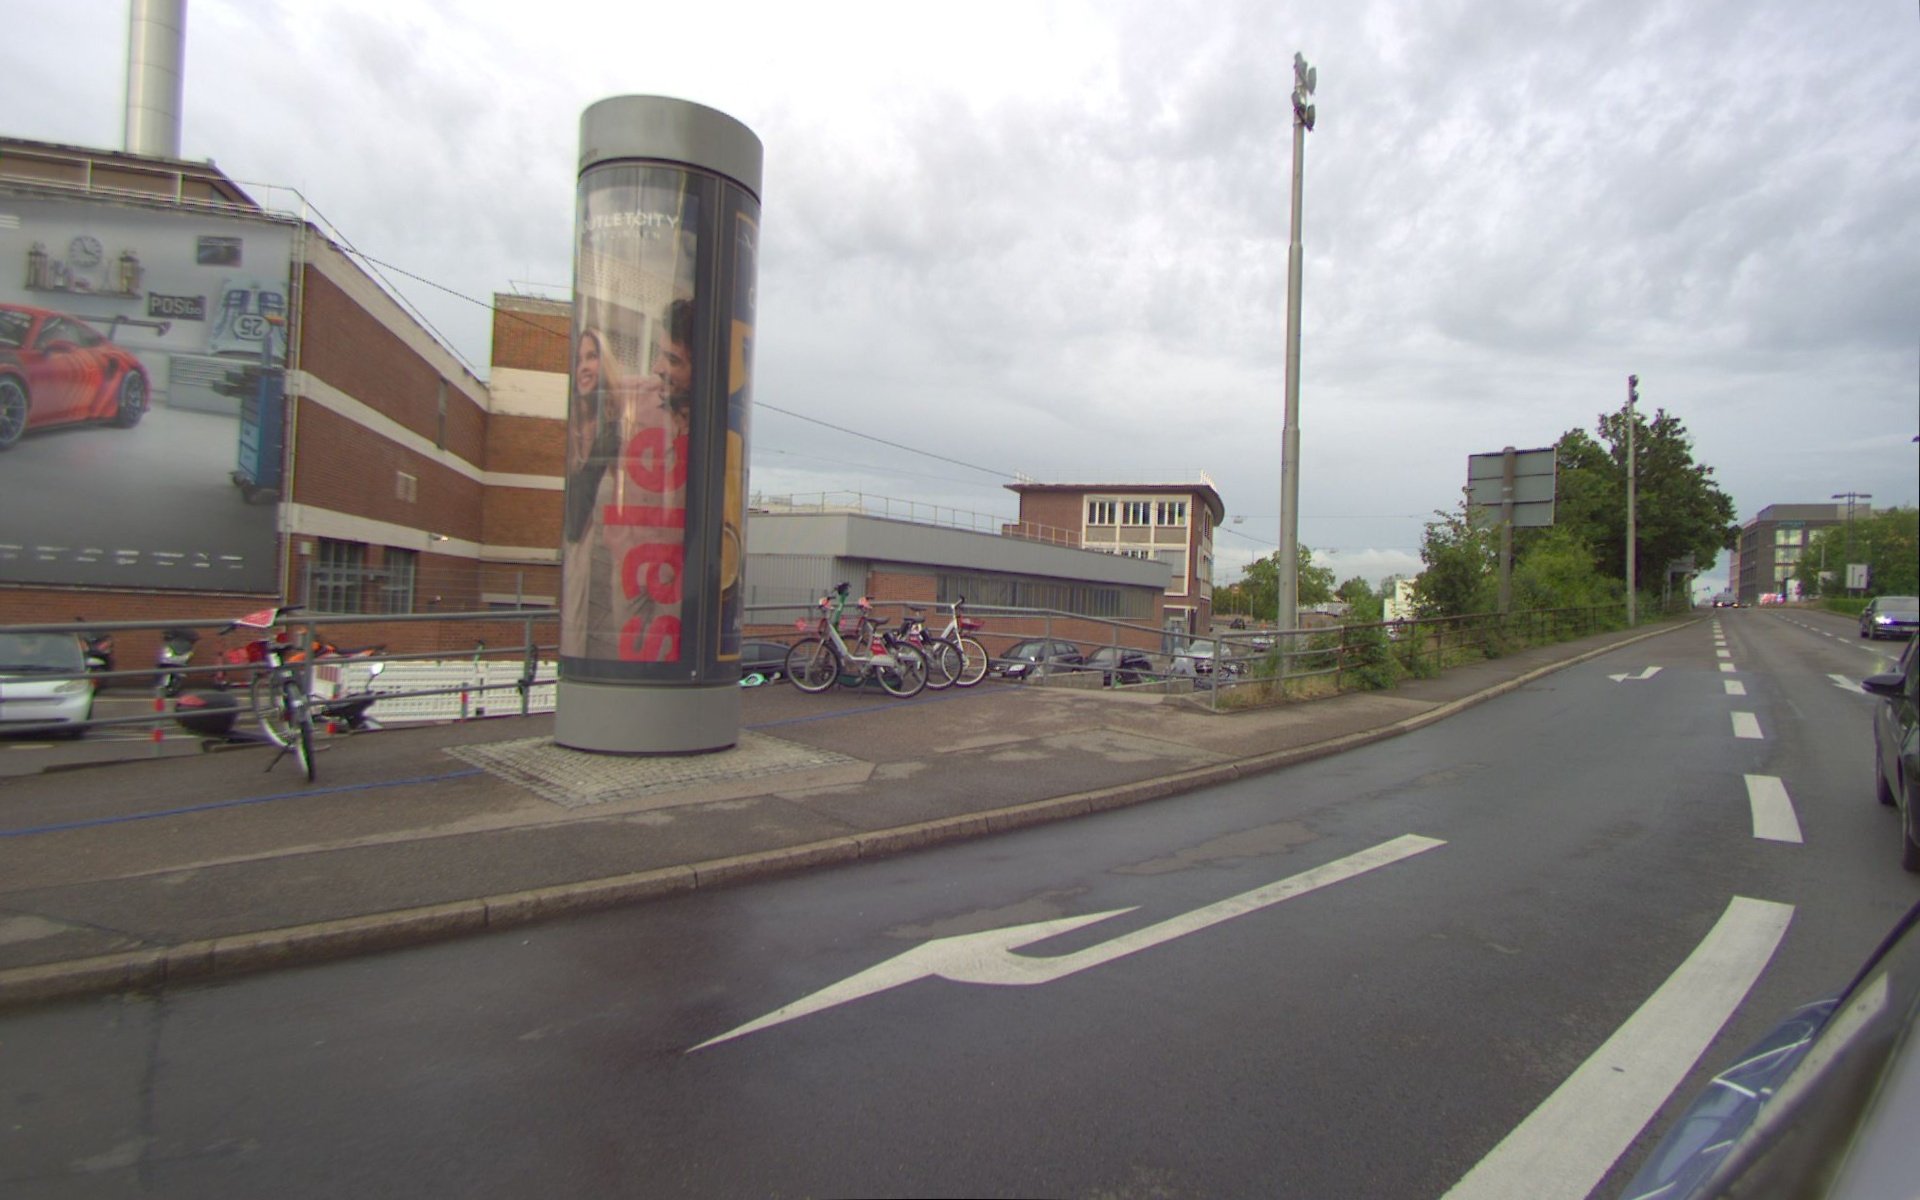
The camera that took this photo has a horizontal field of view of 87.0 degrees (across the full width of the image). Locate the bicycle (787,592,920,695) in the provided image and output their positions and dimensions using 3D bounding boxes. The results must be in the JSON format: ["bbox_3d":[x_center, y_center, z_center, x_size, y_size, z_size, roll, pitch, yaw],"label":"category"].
[{"bbox_3d":[-1.220,0.483,11.655,1.438,1.087,0.442,2,2,9],"label":"bicycle"}]

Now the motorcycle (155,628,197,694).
[{"bbox_3d":[-15.226,1.149,19.679,0.574,1.166,1.720,-1,0,-35],"label":"motorcycle"}]

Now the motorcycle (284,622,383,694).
[{"bbox_3d":[-12.854,1.159,20.791,0.521,1.350,1.646,-1,0,38],"label":"motorcycle"}]

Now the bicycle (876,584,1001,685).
[{"bbox_3d":[-0.279,0.417,12.845,1.527,1.169,0.448,3,3,22],"label":"bicycle"}]

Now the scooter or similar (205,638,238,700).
[{"bbox_3d":[-14.644,1.345,20.078,0.495,1.110,1.639,-1,0,-35],"label":"scooter or similar"}]

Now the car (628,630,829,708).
[{"bbox_3d":[-5.350,1.541,23.873,1.880,1.570,4.445,1,-1,38],"label":"car"}]

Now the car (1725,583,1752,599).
[{"bbox_3d":[73.492,-0.818,95.617,1.738,1.493,4.020,0,0,34],"label":"car"}]

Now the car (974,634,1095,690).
[{"bbox_3d":[2.590,2.048,34.339,1.777,1.688,4.438,1,-1,41],"label":"car"}]

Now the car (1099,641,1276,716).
[{"bbox_3d":[5.314,1.786,24.077,1.688,1.444,3.999,2,-1,-36],"label":"car"}]

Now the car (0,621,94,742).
[{"bbox_3d":[-14.016,1.122,15.092,1.541,1.508,3.992,2,-1,-42],"label":"car"}]

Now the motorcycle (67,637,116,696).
[{"bbox_3d":[-16.199,1.225,18.893,0.531,0.985,1.616,-1,0,-35],"label":"motorcycle"}]

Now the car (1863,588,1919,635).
[{"bbox_3d":[31.777,0.345,33.945,1.807,1.456,4.246,0,1,36],"label":"car"}]

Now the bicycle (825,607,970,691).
[{"bbox_3d":[-0.734,0.577,12.125,1.673,0.933,0.486,1,1,4],"label":"bicycle"}]

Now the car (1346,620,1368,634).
[{"bbox_3d":[44.446,2.992,113.388,1.695,1.444,3.982,1,0,14],"label":"car"}]

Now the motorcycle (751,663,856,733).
[{"bbox_3d":[-2.345,1.434,15.063,1.600,0.933,0.417,0,0,27],"label":"motorcycle"}]

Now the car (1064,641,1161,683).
[{"bbox_3d":[5.933,2.344,39.011,1.713,1.422,4.211,1,-1,41],"label":"car"}]

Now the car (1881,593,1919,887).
[{"bbox_3d":[6.778,0.733,6.074,1.687,1.526,3.953,0,1,40],"label":"car"}]

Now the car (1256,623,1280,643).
[{"bbox_3d":[23.304,2.466,76.543,1.698,1.444,3.976,1,0,18],"label":"car"}]

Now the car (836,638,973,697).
[{"bbox_3d":[-1.520,1.868,28.930,1.712,1.444,3.943,1,-1,39],"label":"car"}]

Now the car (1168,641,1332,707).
[{"bbox_3d":[7.601,1.895,26.851,1.688,1.444,3.999,2,-1,-36],"label":"car"}]

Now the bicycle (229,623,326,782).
[{"bbox_3d":[-4.830,0.664,7.125,0.414,0.933,1.615,1,0,-39],"label":"bicycle"}]

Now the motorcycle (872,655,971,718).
[{"bbox_3d":[-0.628,1.392,16.468,1.599,0.933,0.418,0,0,25],"label":"motorcycle"}]

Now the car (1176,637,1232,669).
[{"bbox_3d":[12.231,2.629,50.586,1.718,1.406,3.958,1,-1,29],"label":"car"}]

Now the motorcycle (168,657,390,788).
[{"bbox_3d":[-5.728,0.995,8.594,0.400,0.901,1.521,1,1,36],"label":"motorcycle"}]
